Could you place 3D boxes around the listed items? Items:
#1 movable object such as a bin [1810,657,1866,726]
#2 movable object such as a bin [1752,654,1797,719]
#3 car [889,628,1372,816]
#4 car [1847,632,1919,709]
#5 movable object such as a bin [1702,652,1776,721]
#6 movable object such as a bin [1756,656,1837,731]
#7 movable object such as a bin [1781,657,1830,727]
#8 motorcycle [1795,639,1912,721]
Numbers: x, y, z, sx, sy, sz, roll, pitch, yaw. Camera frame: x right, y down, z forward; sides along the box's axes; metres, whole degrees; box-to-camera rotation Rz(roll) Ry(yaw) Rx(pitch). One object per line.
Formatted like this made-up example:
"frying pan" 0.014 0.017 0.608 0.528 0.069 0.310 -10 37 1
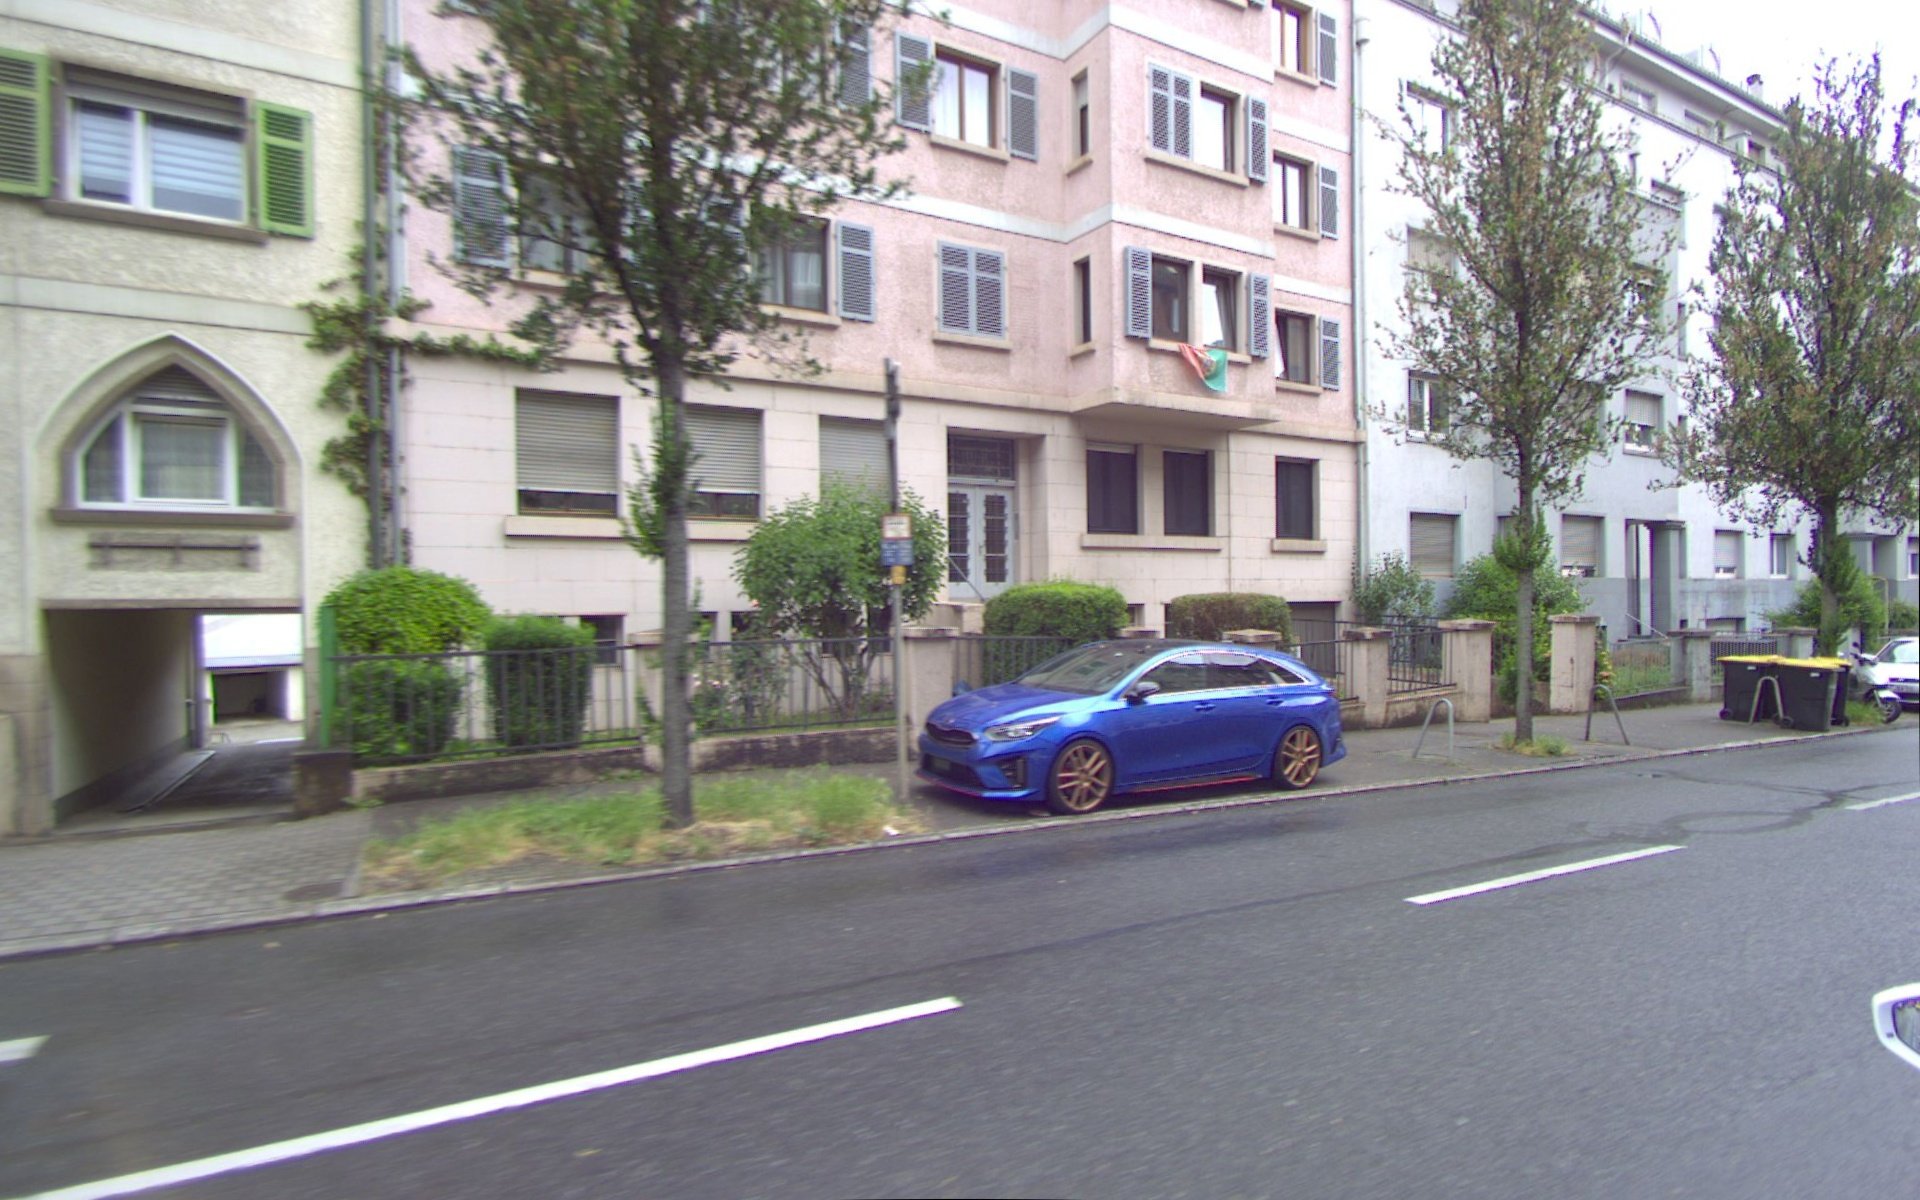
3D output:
"movable object such as a bin" 14.667 1.522 16.781 0.478 1.072 0.522 2 2 -29
"movable object such as a bin" 14.101 1.489 17.395 0.479 1.072 0.467 2 2 -39
"car" 1.739 1.032 9.583 4.550 1.404 1.670 2 -1 -31
"car" 19.643 1.417 20.254 3.844 1.415 1.592 2 -1 -32
"movable object such as a bin" 13.148 1.453 16.965 0.478 1.072 0.821 2 1 -29
"movable object such as a bin" 13.282 1.472 15.954 0.478 1.072 0.821 2 2 -29
"movable object such as a bin" 13.852 1.498 16.458 0.479 1.072 0.467 2 2 -39
"motorcycle" 15.873 1.382 17.906 0.727 1.332 1.812 0 -1 11
